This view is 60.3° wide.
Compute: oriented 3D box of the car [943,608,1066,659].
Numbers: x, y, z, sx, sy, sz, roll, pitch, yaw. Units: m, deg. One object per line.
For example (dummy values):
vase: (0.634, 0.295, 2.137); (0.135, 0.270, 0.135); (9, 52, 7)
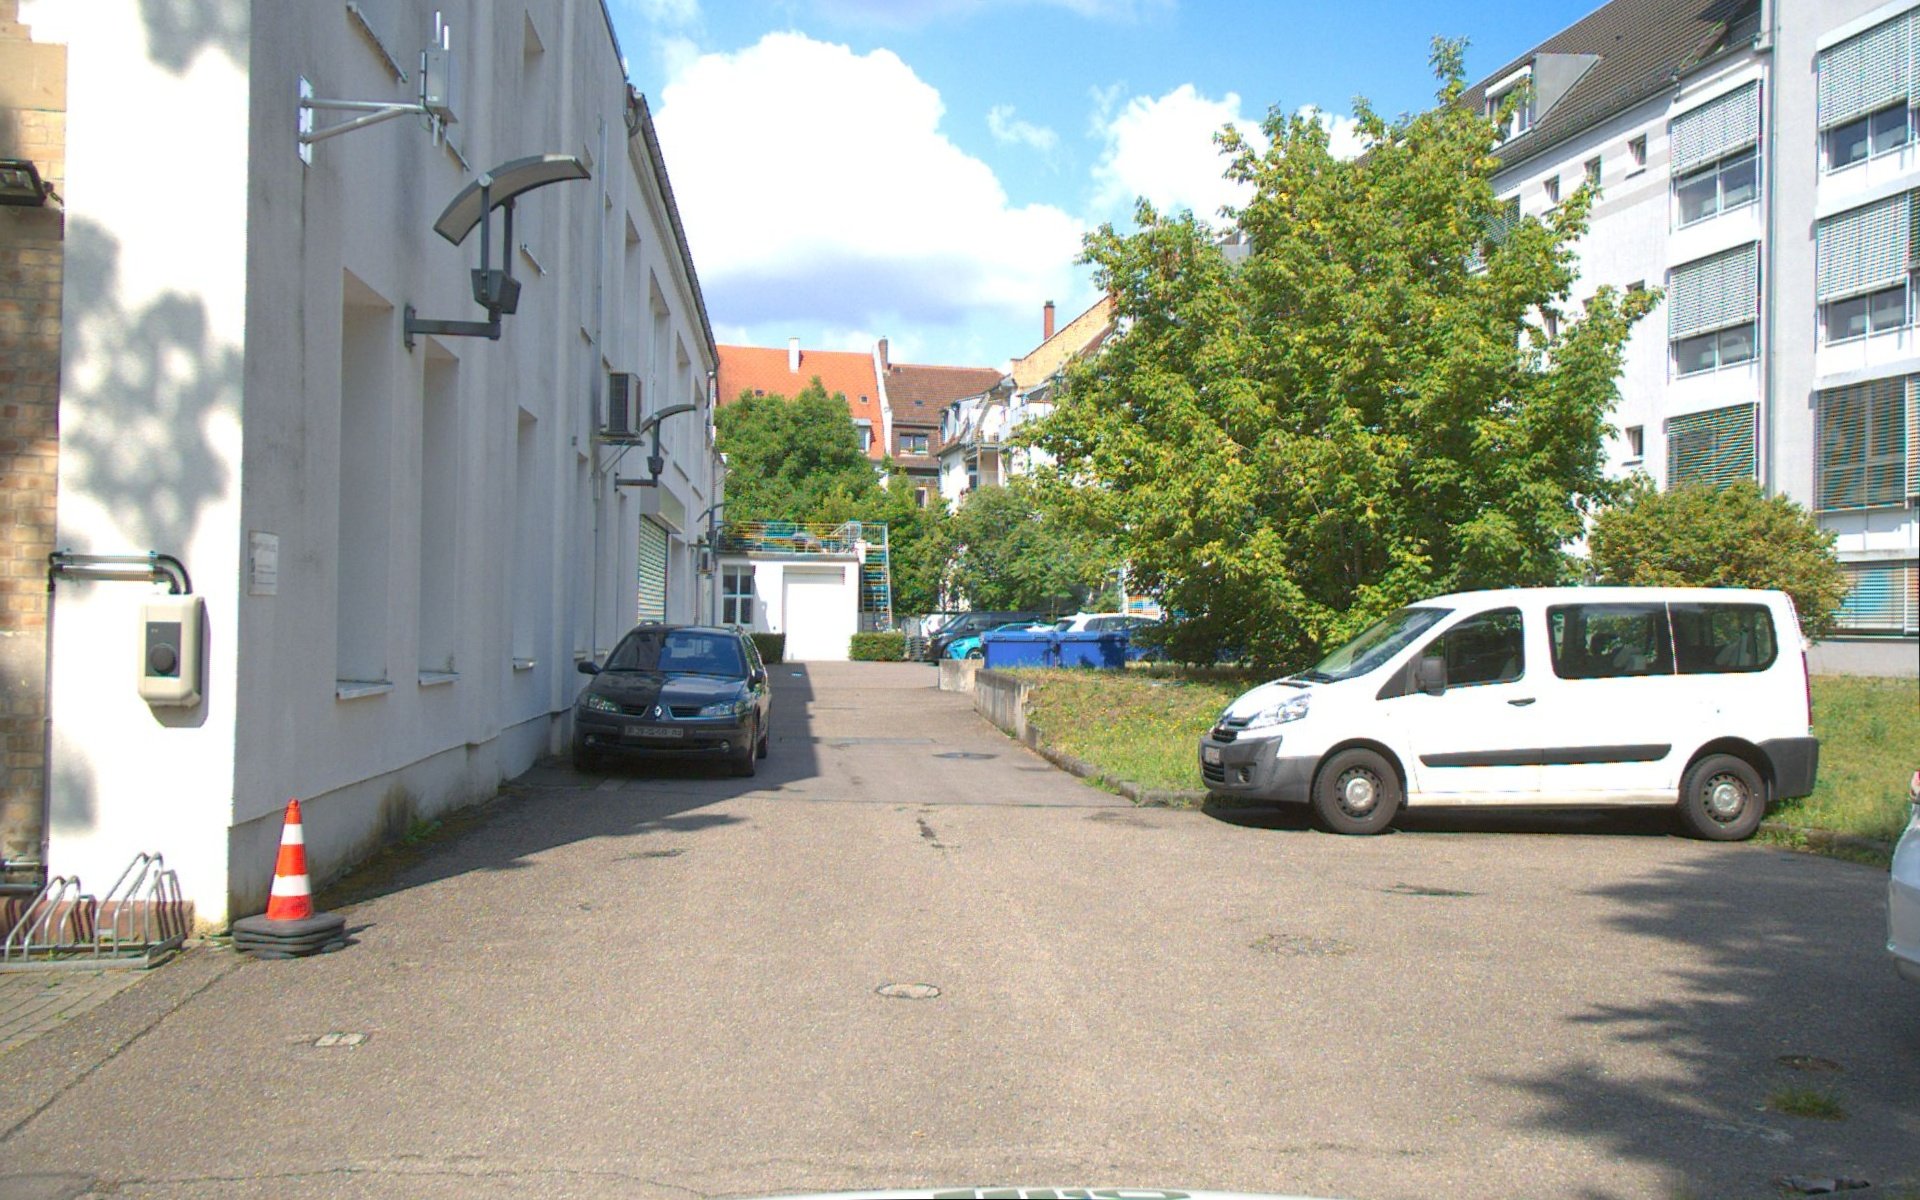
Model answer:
car: (1.506, 1.123, 56.405); (3.916, 1.601, 1.625); (0, 3, -12)

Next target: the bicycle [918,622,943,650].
bicycle: (-1.240, 1.495, 68.881); (0.630, 1.137, 1.851); (0, 0, -14)

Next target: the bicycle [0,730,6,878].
bicycle: (-4.414, 1.056, 6.702); (0.313, 0.929, 1.606); (2, 0, -7)

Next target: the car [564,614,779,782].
car: (-2.837, 0.935, 17.127); (1.843, 1.467, 4.334); (2, -1, -6)

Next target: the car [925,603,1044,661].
car: (0.855, 1.143, 59.113); (3.916, 1.848, 1.659); (2, 1, -12)

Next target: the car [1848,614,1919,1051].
car: (5.143, 0.772, 5.224); (3.829, 1.445, 1.756); (0, 0, -7)

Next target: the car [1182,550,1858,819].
car: (4.408, 0.672, 13.510); (4.842, 1.999, 1.998); (1, -2, -5)

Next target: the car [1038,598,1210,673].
car: (4.114, 0.884, 41.699); (3.916, 1.776, 1.944); (0, 2, -12)

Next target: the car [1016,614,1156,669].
car: (3.747, 1.208, 49.499); (3.916, 1.470, 1.625); (-1, 3, -12)

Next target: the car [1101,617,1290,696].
car: (5.538, 1.324, 39.040); (4.040, 1.634, 1.750); (2, 1, -12)
